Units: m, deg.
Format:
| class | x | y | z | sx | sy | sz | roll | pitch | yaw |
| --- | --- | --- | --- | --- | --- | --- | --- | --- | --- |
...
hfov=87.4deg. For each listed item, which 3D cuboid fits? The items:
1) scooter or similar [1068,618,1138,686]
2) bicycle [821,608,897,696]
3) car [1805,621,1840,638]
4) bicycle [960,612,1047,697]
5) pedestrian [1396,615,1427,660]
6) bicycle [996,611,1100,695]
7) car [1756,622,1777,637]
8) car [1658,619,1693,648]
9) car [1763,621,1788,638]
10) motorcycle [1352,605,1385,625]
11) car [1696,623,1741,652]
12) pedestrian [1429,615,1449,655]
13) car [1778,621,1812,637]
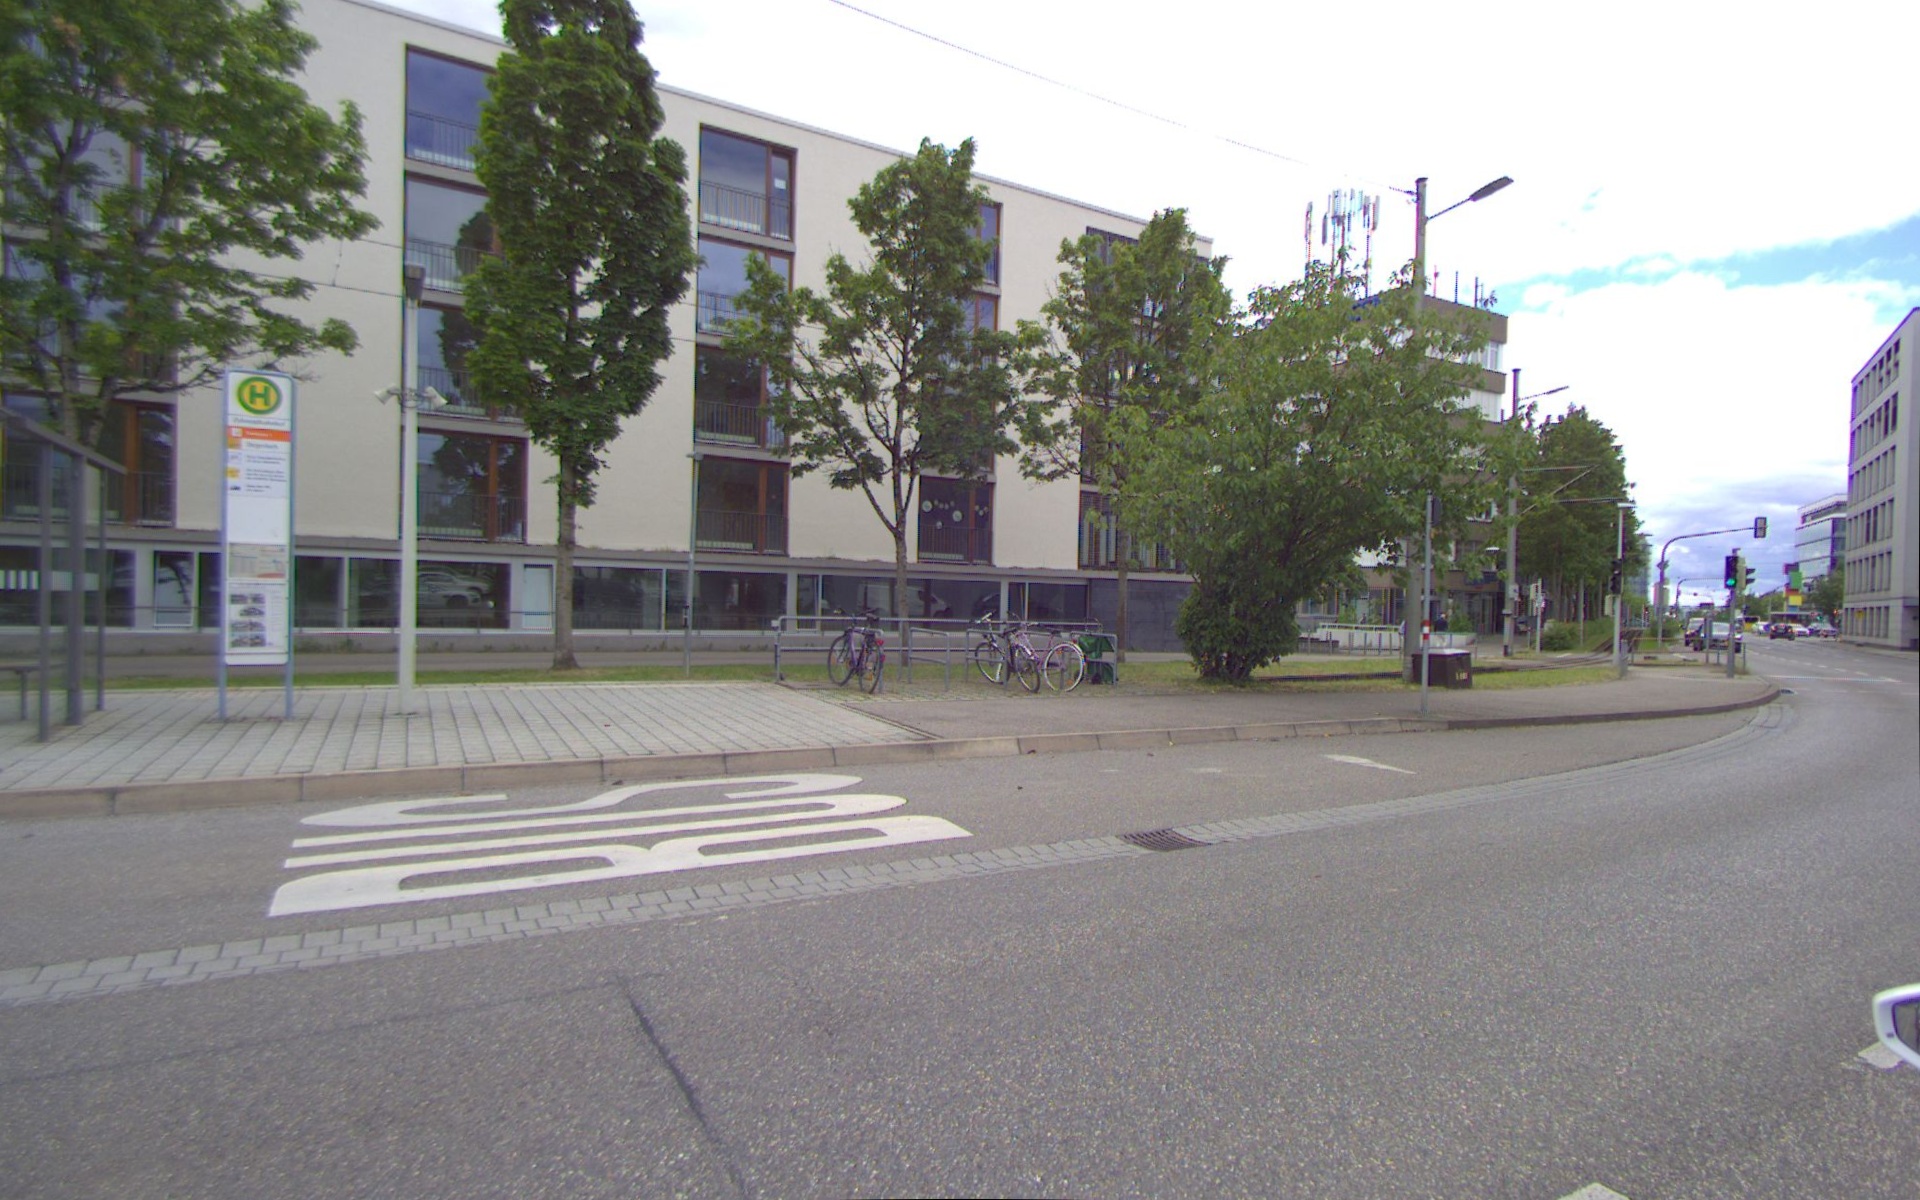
| class | x | y | z | sx | sy | sz | roll | pitch | yaw |
| --- | --- | --- | --- | --- | --- | --- | --- | --- | --- |
| scooter or similar | 2.270 | 0.816 | 15.949 | 0.767 | 1.023 | 0.781 | 1 | 0 | -38 |
| bicycle | -1.393 | 0.671 | 13.612 | 0.391 | 1.039 | 1.680 | 1 | 2 | -28 |
| car | 100.849 | 3.460 | 117.514 | 1.961 | 1.877 | 3.998 | 2 | 0 | 23 |
| bicycle | 0.596 | 0.751 | 14.485 | 0.403 | 1.060 | 1.741 | 1 | 2 | -28 |
| pedestrian | 15.885 | 1.322 | 35.337 | 0.836 | 1.547 | 0.993 | 0 | -1 | 33 |
| bicycle | 1.278 | 0.756 | 14.888 | 0.405 | 1.103 | 1.689 | 1 | 2 | -42 |
| car | 92.008 | 3.328 | 114.579 | 1.737 | 1.630 | 4.171 | 2 | 0 | 38 |
| car | 47.361 | 2.184 | 66.548 | 1.658 | 1.832 | 4.340 | -1 | -2 | 33 |
| car | 81.290 | 2.940 | 100.143 | 1.737 | 1.630 | 4.171 | 2 | 0 | 38 |
| motorcycle | 25.872 | 0.932 | 63.612 | 0.563 | 1.215 | 1.863 | 1 | 0 | -39 |
| car | 40.174 | 1.964 | 53.261 | 1.745 | 1.498 | 3.987 | -1 | -2 | 36 |
| pedestrian | 21.208 | 1.539 | 44.448 | 0.679 | 1.728 | 0.680 | 0 | -1 | 37 |
| car | 98.544 | 3.434 | 118.533 | 1.961 | 1.726 | 3.998 | 1 | 0 | 23 |
